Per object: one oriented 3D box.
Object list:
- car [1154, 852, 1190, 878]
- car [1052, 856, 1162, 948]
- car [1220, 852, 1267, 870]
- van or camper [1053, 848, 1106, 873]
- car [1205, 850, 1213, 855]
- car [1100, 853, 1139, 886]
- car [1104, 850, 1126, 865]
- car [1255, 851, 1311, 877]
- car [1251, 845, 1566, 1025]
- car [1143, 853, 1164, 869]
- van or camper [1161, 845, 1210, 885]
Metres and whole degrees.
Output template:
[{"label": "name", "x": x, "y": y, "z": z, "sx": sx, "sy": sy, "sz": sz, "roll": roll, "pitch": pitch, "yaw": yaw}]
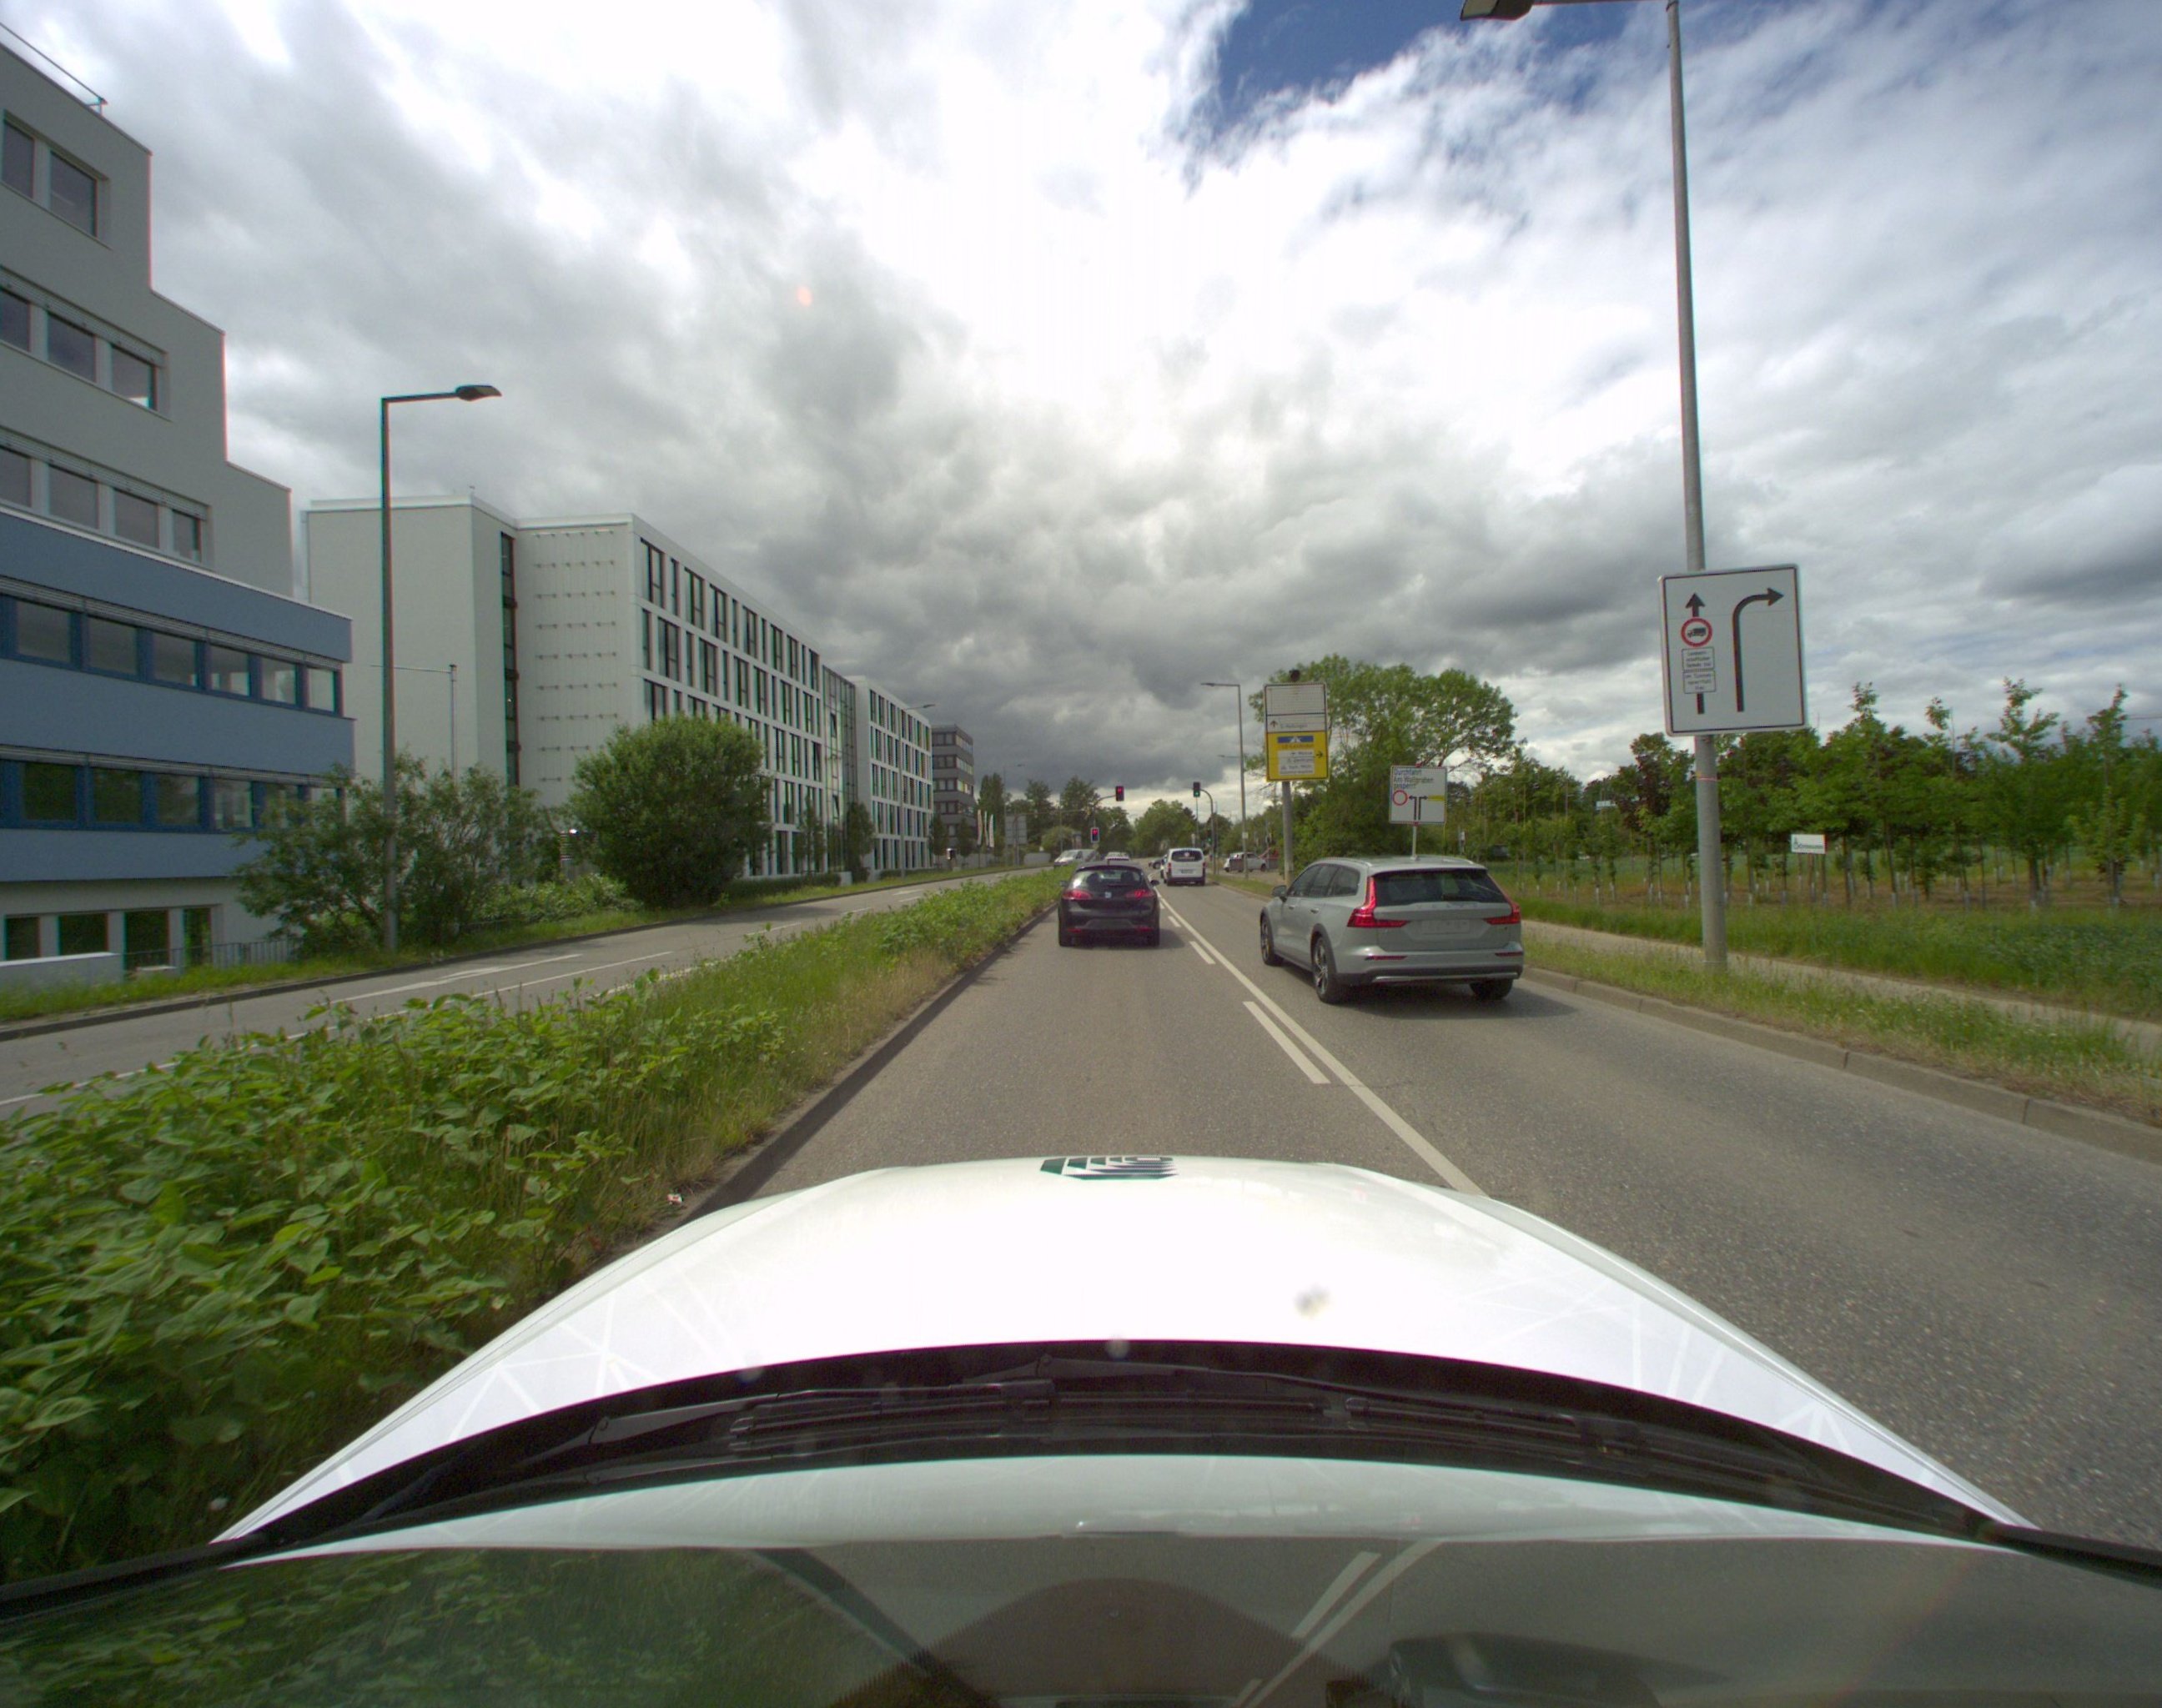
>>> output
[{"label": "car", "x": 5.976, "y": 0.722, "z": 53.856, "sx": 1.986, "sy": 1.632, "sz": 4.001, "roll": -2, "pitch": 0, "yaw": 2}, {"label": "car", "x": 0.539, "y": 0.782, "z": 14.854, "sx": 1.765, "sy": 1.452, "sz": 3.586, "roll": 0, "pitch": 0, "yaw": 4}, {"label": "car", "x": 13.095, "y": 0.533, "z": 65.692, "sx": 3.381, "sy": 1.345, "sz": 1.683, "roll": -1, "pitch": 0, "yaw": -11}, {"label": "van or camper", "x": -0.112, "y": 0.547, "z": 69.236, "sx": 1.974, "sy": 2.013, "sz": 4.847, "roll": -2, "pitch": 0, "yaw": 36}, {"label": "car", "x": 35.280, "y": -0.517, "z": 224.467, "sx": 1.980, "sy": 1.352, "sz": 4.013, "roll": -1, "pitch": 0, "yaw": 12}, {"label": "car", "x": 1.874, "y": 0.744, "z": 40.154, "sx": 1.766, "sy": 1.491, "sz": 3.584, "roll": -2, "pitch": 0, "yaw": 2}, {"label": "car", "x": 3.800, "y": 0.341, "z": 90.538, "sx": 1.983, "sy": 1.596, "sz": 4.008, "roll": -1, "pitch": 0, "yaw": 7}, {"label": "car", "x": 20.354, "y": 0.990, "z": 82.199, "sx": 5.194, "sy": 2.412, "sz": 2.005, "roll": -2, "pitch": 0, "yaw": 8}, {"label": "car", "x": 3.338, "y": 0.711, "z": 9.375, "sx": 1.856, "sy": 1.518, "sz": 4.447, "roll": -2, "pitch": 0, "yaw": 1}, {"label": "car", "x": 7.482, "y": 0.711, "z": 83.976, "sx": 1.983, "sy": 1.596, "sz": 4.008, "roll": -1, "pitch": 0, "yaw": 7}, {"label": "van or camper", "x": 5.239, "y": 0.537, "z": 41.351, "sx": 1.986, "sy": 1.860, "sz": 4.946, "roll": -2, "pitch": 0, "yaw": 2}]
